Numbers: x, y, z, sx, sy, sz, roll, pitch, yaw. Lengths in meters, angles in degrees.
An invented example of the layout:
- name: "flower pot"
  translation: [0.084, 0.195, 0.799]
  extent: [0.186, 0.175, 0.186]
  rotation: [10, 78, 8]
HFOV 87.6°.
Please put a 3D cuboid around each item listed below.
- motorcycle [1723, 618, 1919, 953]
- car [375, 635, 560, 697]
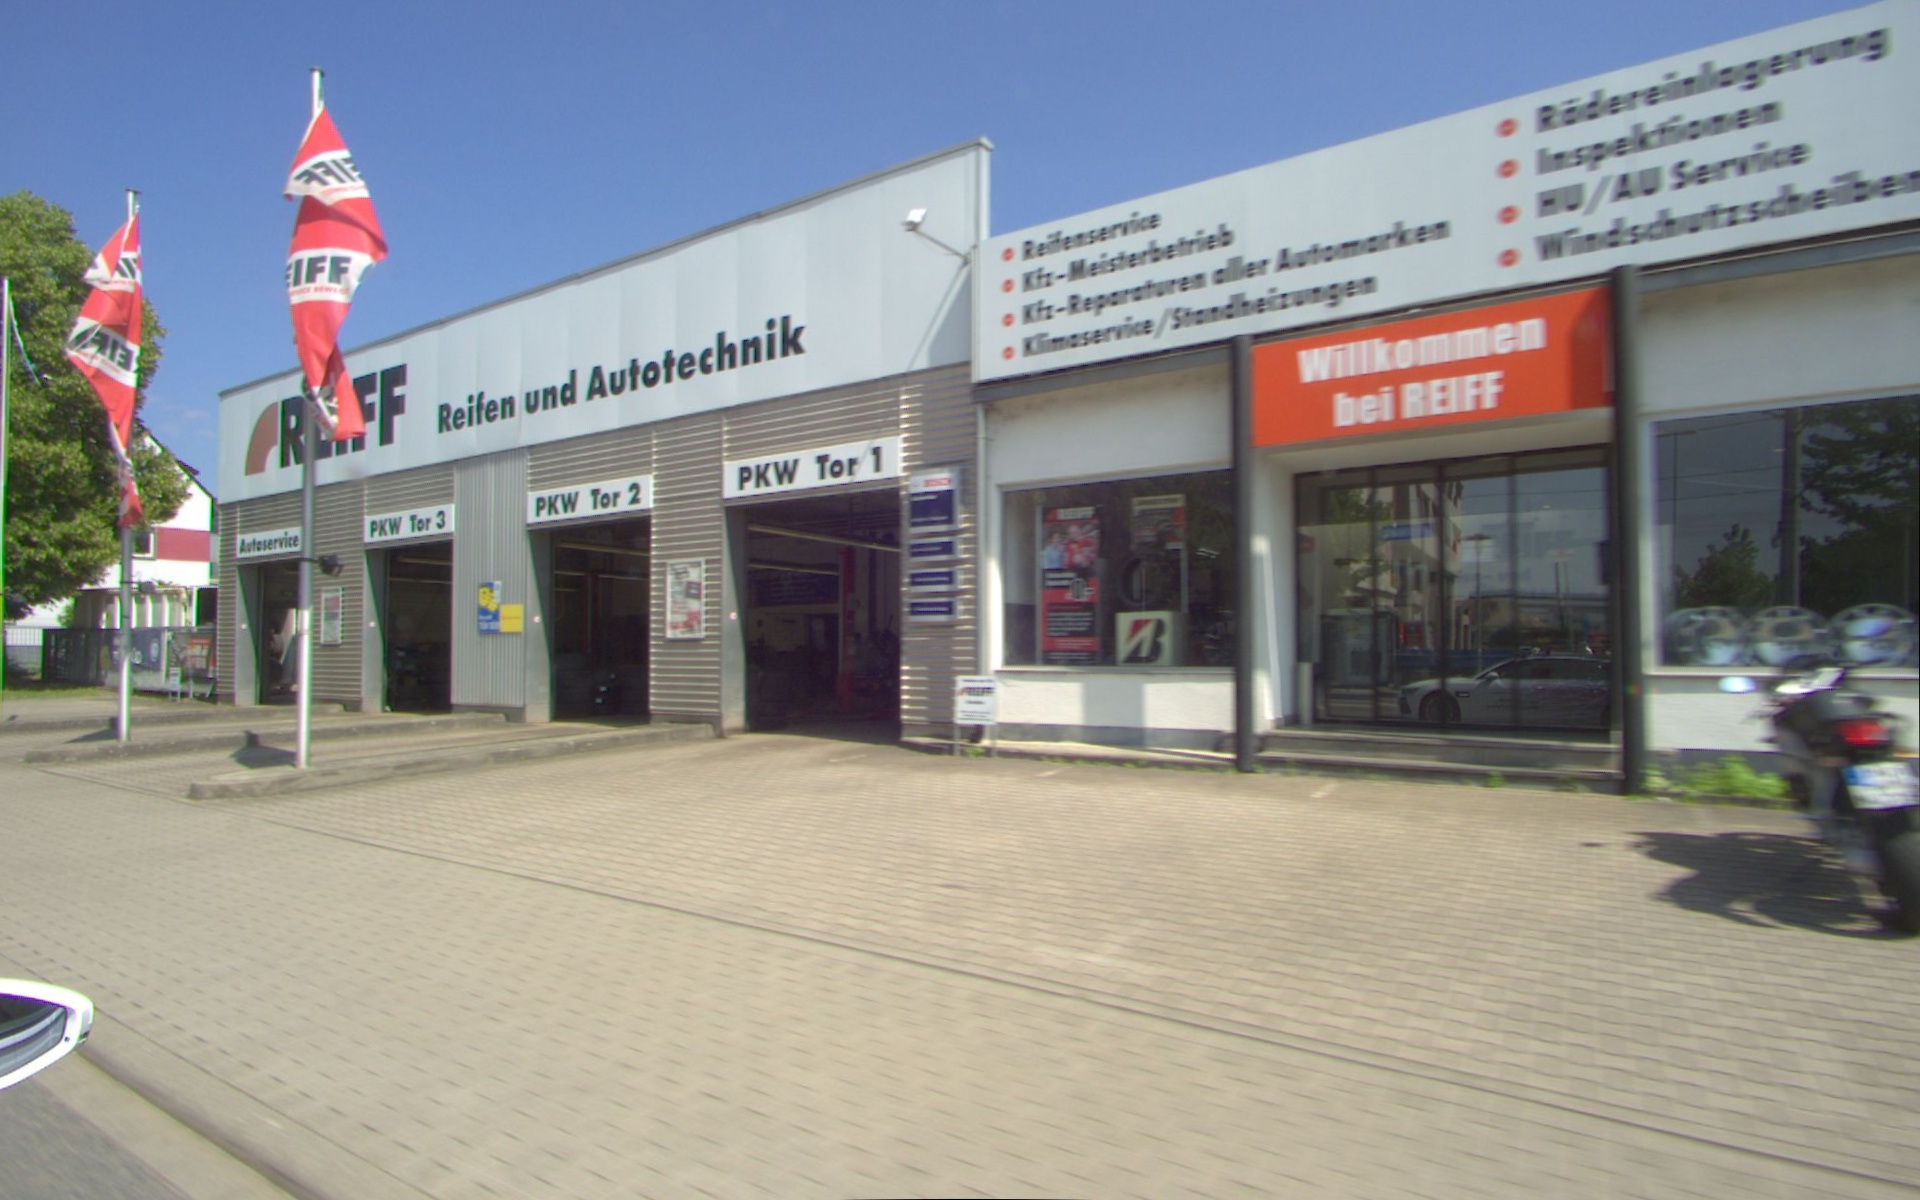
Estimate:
- name: "motorcycle"
  translation: [4.498, 0.793, 5.108]
  extent: [0.721, 1.326, 2.178]
  rotation: [-1, 0, 31]
- name: "car"
  translation: [-11.889, 1.567, 24.420]
  extent: [1.699, 1.393, 3.760]
  rotation: [-1, -3, 28]
